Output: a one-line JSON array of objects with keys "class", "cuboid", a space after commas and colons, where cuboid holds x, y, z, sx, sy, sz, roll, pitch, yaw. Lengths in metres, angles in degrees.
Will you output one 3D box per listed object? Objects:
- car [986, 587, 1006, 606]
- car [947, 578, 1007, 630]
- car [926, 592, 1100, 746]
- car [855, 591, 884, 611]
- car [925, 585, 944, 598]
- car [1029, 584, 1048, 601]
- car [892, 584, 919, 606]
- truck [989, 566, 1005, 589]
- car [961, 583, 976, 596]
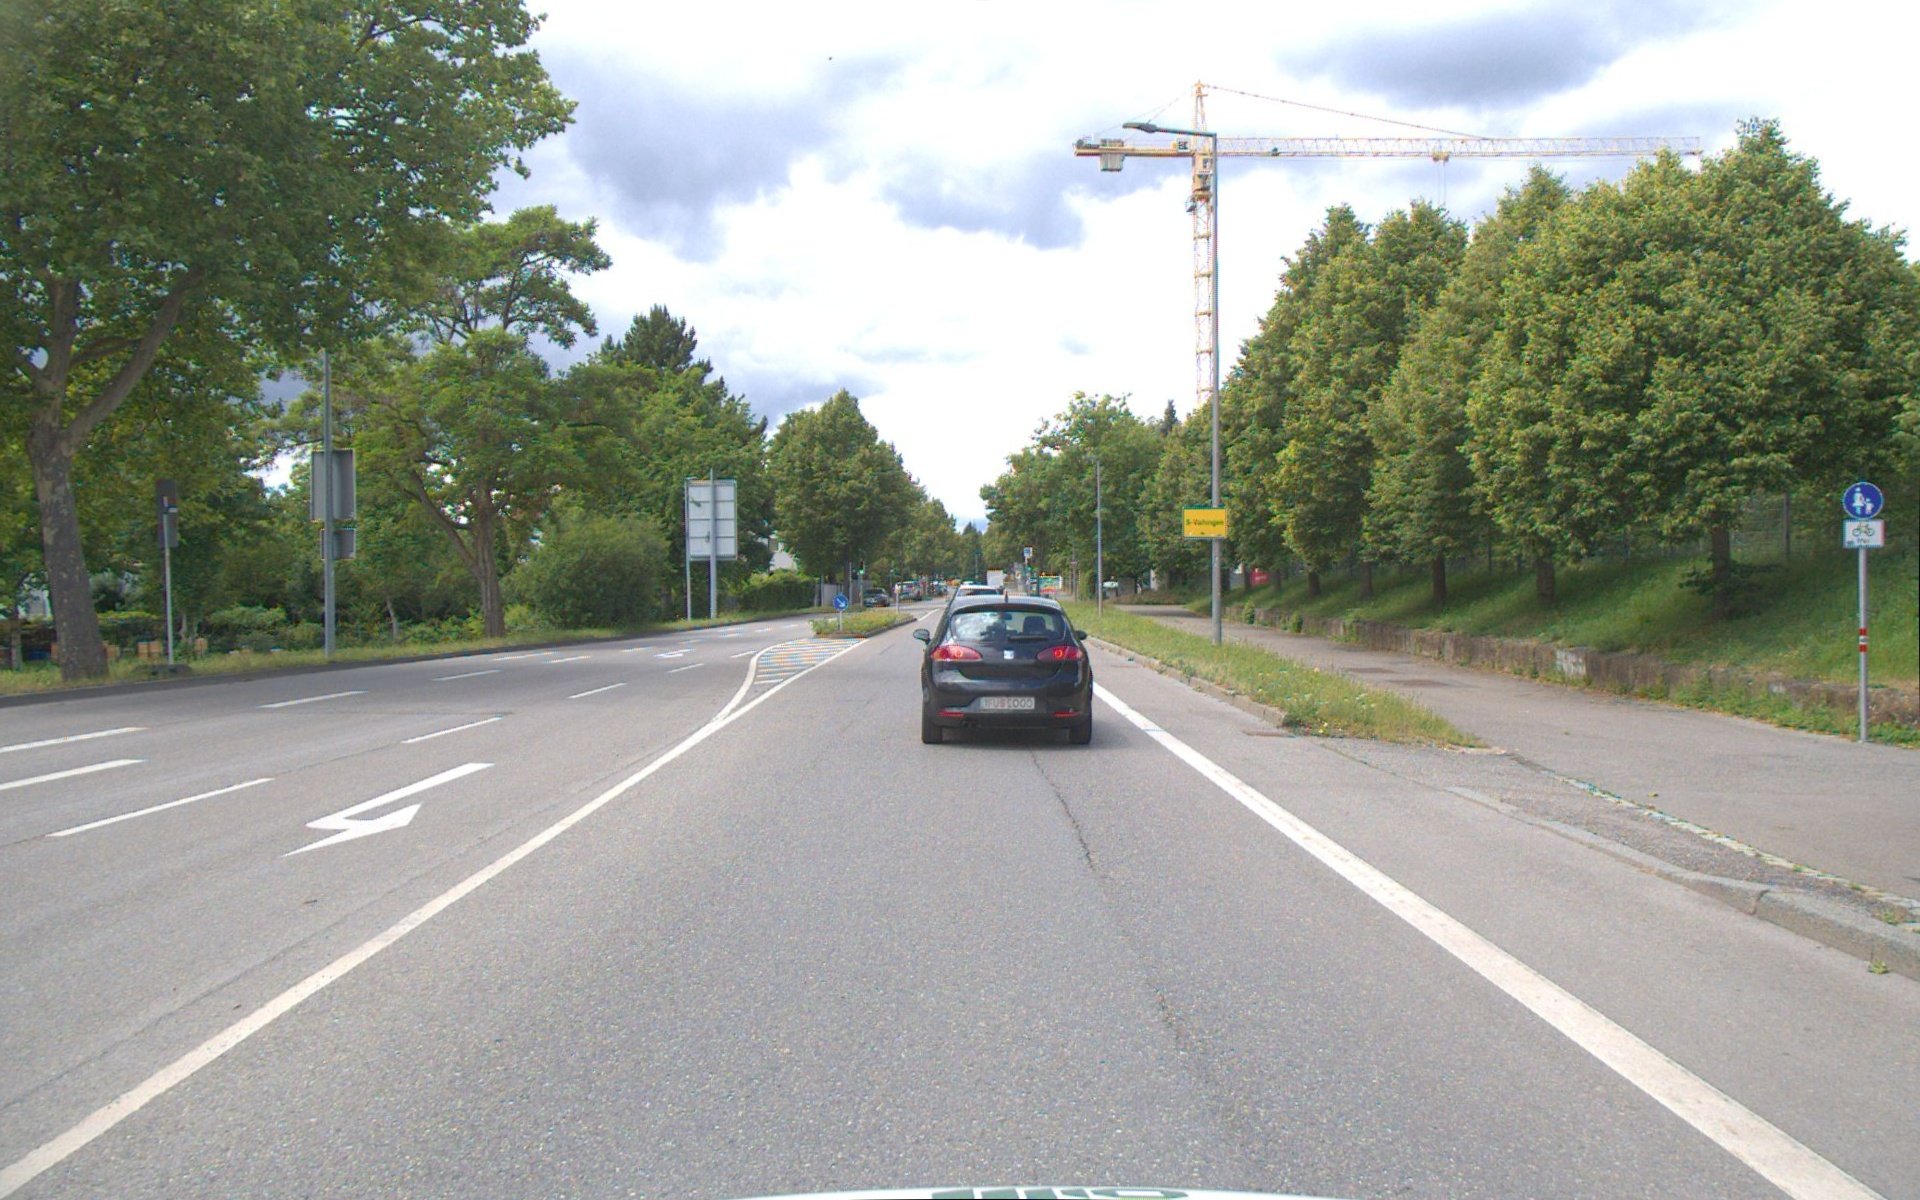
[{"class": "car", "cuboid": [3.416, -0.333, 157.465, 1.842, 1.718, 4.215, -1, 0, 2]}, {"class": "car", "cuboid": [0.527, 0.122, 51.859, 1.808, 1.536, 3.812, 1, 0, 0]}, {"class": "car", "cuboid": [0.517, 0.640, 17.488, 1.628, 1.426, 3.812, 1, 0, 0]}, {"class": "car", "cuboid": [-6.786, 0.053, 124.339, 1.682, 1.419, 4.802, -3, 0, 2]}, {"class": "car", "cuboid": [-3.204, -1.112, 210.709, 2.056, 1.532, 5.785, -3, 0, 2]}, {"class": "car", "cuboid": [7.000, -0.699, 147.672, 1.653, 1.516, 3.356, -1, 0, 2]}, {"class": "car", "cuboid": [-5.009, -0.465, 153.556, 2.056, 1.929, 5.785, -3, 0, 2]}, {"class": "truck", "cuboid": [5.186, -3.142, 233.439, 2.232, 3.158, 8.512, 1, 0, 1]}, {"class": "car", "cuboid": [1.237, -1.470, 232.589, 1.836, 1.663, 4.342, -3, 0, 4]}]
